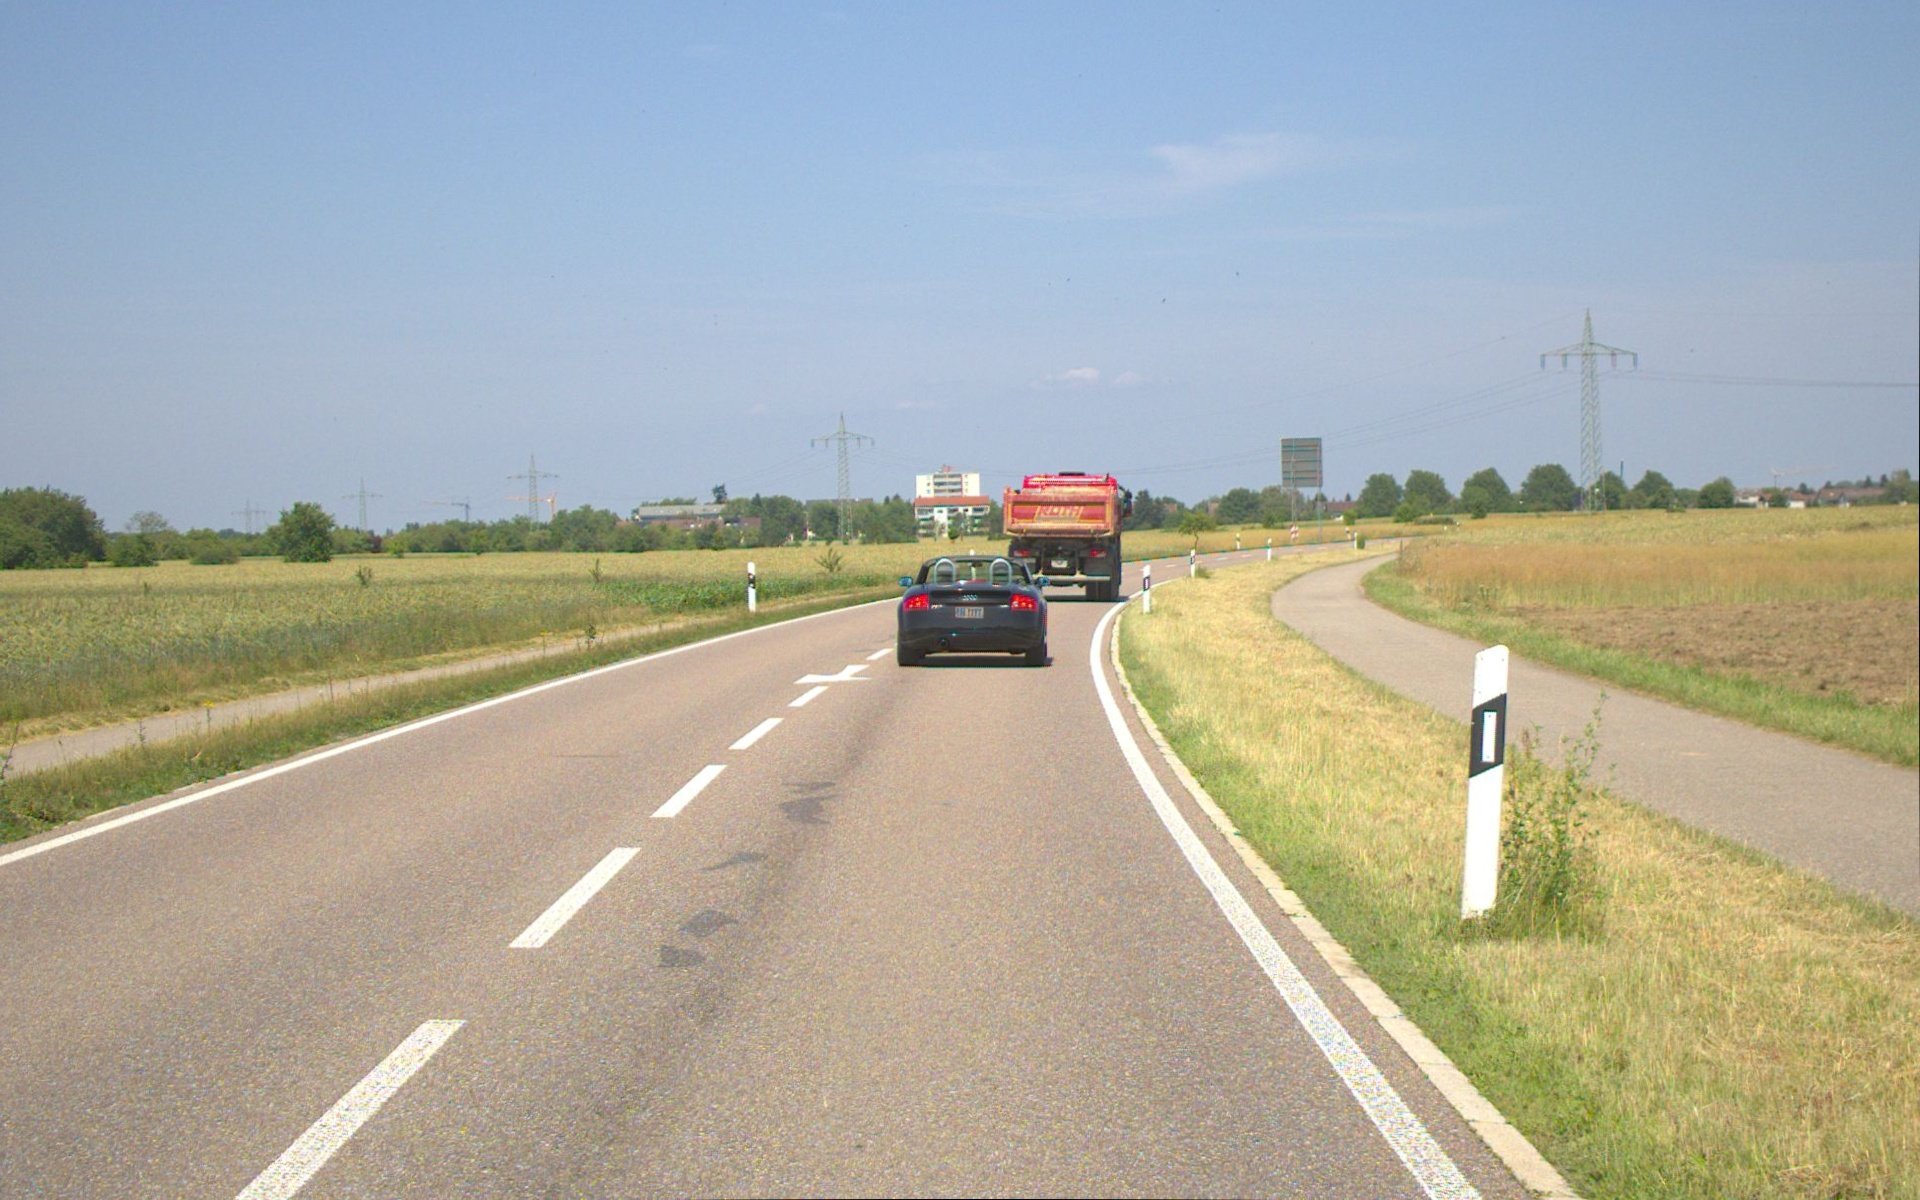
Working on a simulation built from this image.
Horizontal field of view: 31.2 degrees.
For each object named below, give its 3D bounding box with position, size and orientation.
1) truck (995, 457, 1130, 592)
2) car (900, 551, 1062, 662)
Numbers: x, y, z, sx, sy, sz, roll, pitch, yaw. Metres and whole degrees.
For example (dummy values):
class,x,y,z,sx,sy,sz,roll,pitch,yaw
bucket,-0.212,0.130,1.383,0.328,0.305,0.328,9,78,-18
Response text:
class,x,y,z,sx,sy,sz,roll,pitch,yaw
truck,2.521,-1.766,82.220,2.938,3.078,7.195,0,1,4
car,0.303,0.047,41.402,1.744,1.275,4.000,0,1,3
